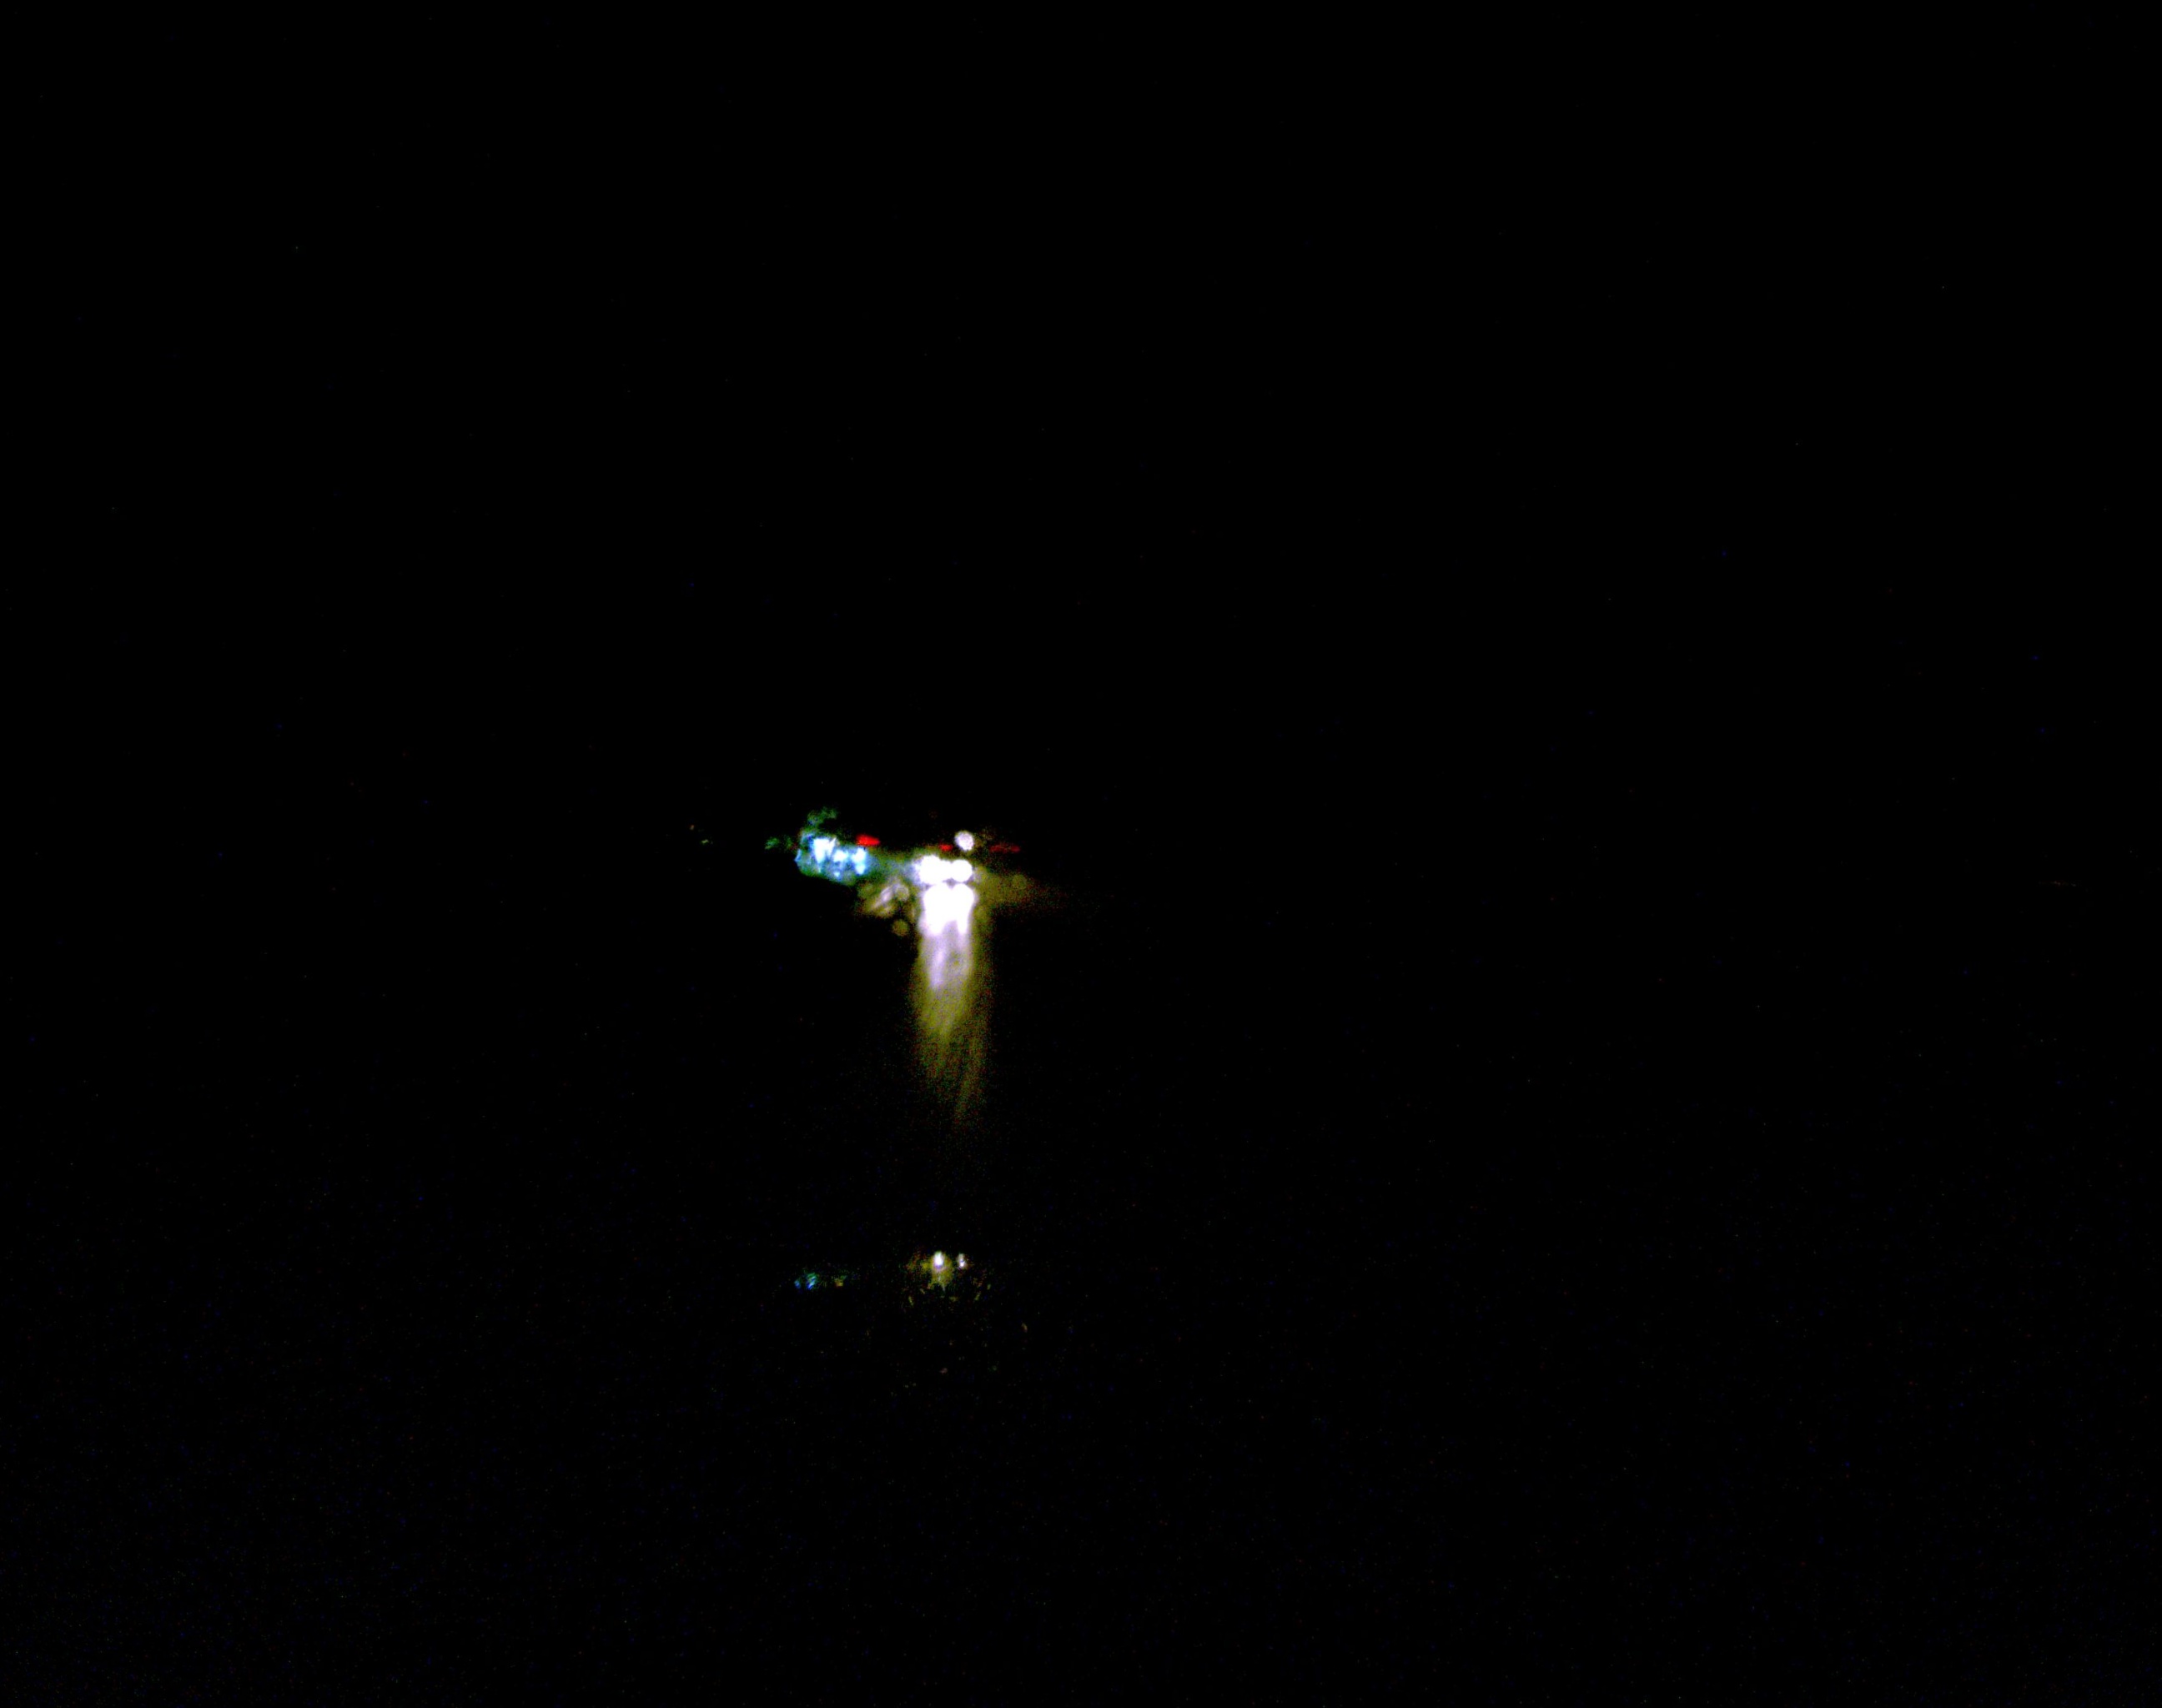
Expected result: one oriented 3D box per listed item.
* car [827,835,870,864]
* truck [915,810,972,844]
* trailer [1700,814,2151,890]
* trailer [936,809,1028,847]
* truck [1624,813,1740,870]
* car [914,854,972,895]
[{"bbox_3d":[-17.798,-0.348,58.027,2.002,2.003,3.990,-6,3,-33],"label":"car"},{"bbox_3d":[-16.532,-3.182,90.847,3.416,3.951,7.436,-2,2,-40],"label":"truck"},{"bbox_3d":[35.901,-0.328,33.616,12.971,2.713,2.004,4,4,43],"label":"trailer"},{"bbox_3d":[-11.271,-2.971,84.593,3.457,3.857,13.322,-2,4,-40],"label":"trailer"},{"bbox_3d":[30.542,-0.687,38.690,4.329,2.716,2.004,4,4,44],"label":"truck"},{"bbox_3d":[-6.455,0.886,35.218,1.896,1.603,3.991,0,3,-21],"label":"car"}]
